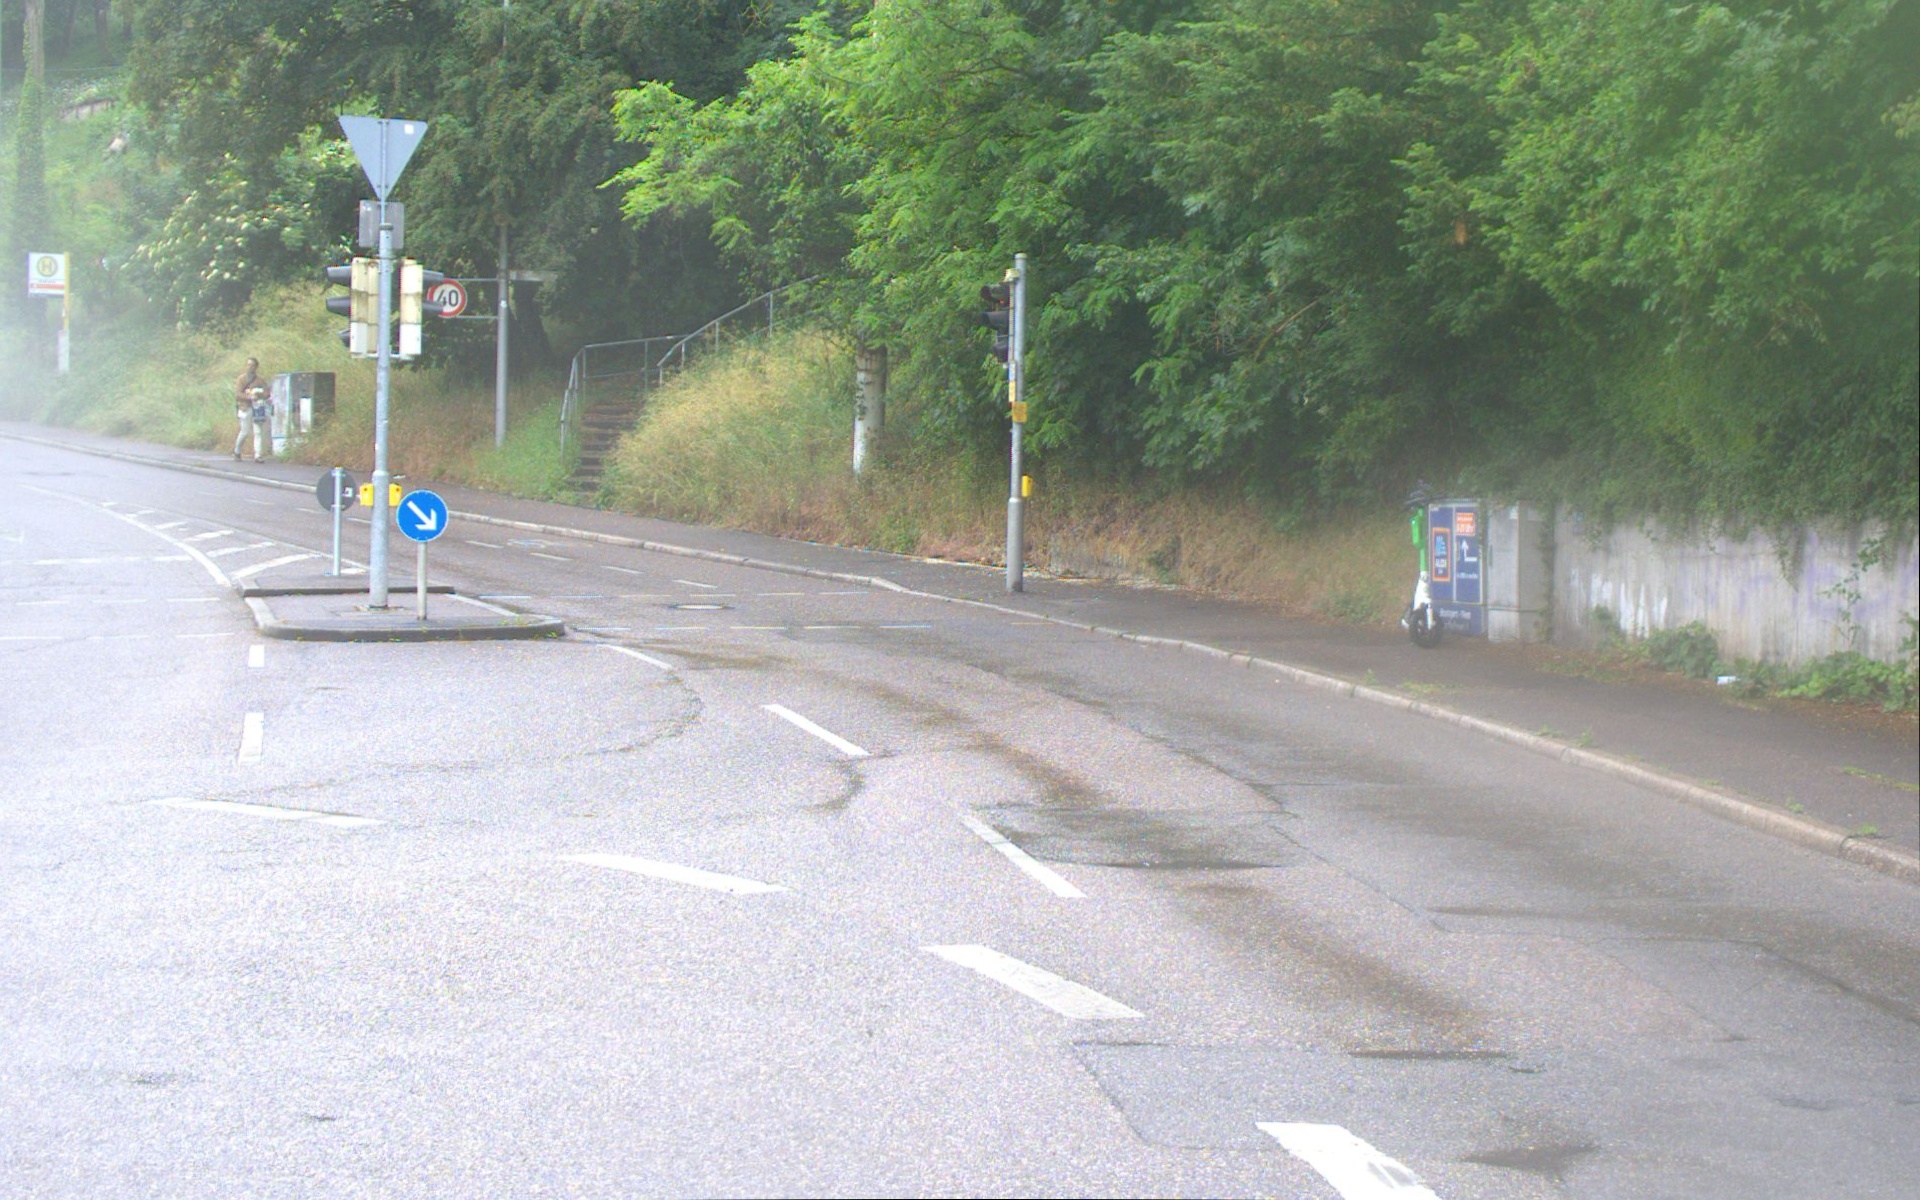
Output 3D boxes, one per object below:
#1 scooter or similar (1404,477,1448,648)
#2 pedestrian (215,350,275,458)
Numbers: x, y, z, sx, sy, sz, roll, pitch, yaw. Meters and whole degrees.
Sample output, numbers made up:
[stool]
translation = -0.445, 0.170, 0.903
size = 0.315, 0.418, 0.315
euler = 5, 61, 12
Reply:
[scooter or similar]
translation = 3.590, -0.297, 26.486
size = 0.322, 1.275, 0.751
euler = 0, 4, 7
[pedestrian]
translation = -11.883, -3.255, 57.135
size = 0.880, 1.730, 0.866
euler = 0, 0, -17
